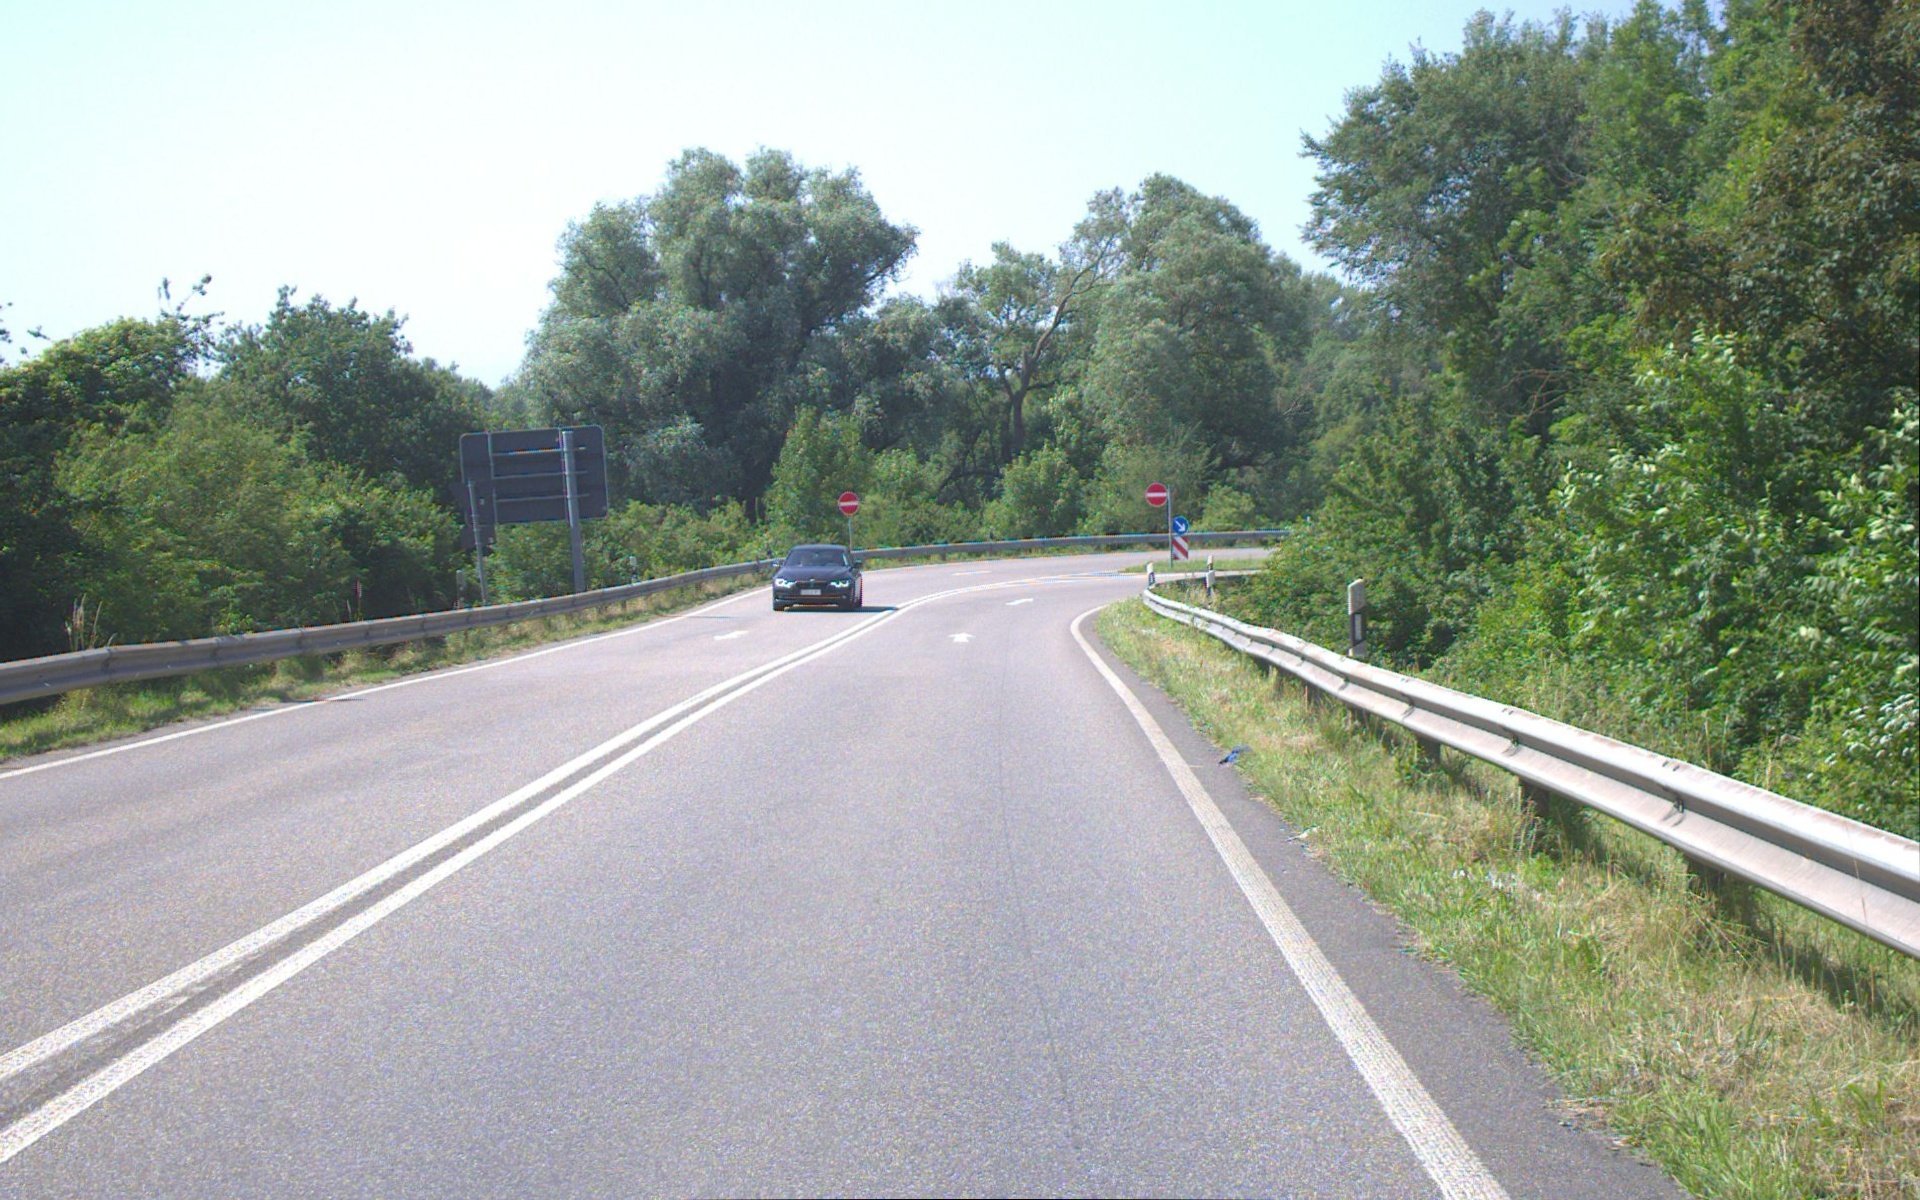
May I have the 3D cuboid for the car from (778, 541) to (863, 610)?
[{"bbox_3d":[-3.081,-0.559,76.559,1.607,1.468,4.220,-1,1,1],"label":"car"}]
